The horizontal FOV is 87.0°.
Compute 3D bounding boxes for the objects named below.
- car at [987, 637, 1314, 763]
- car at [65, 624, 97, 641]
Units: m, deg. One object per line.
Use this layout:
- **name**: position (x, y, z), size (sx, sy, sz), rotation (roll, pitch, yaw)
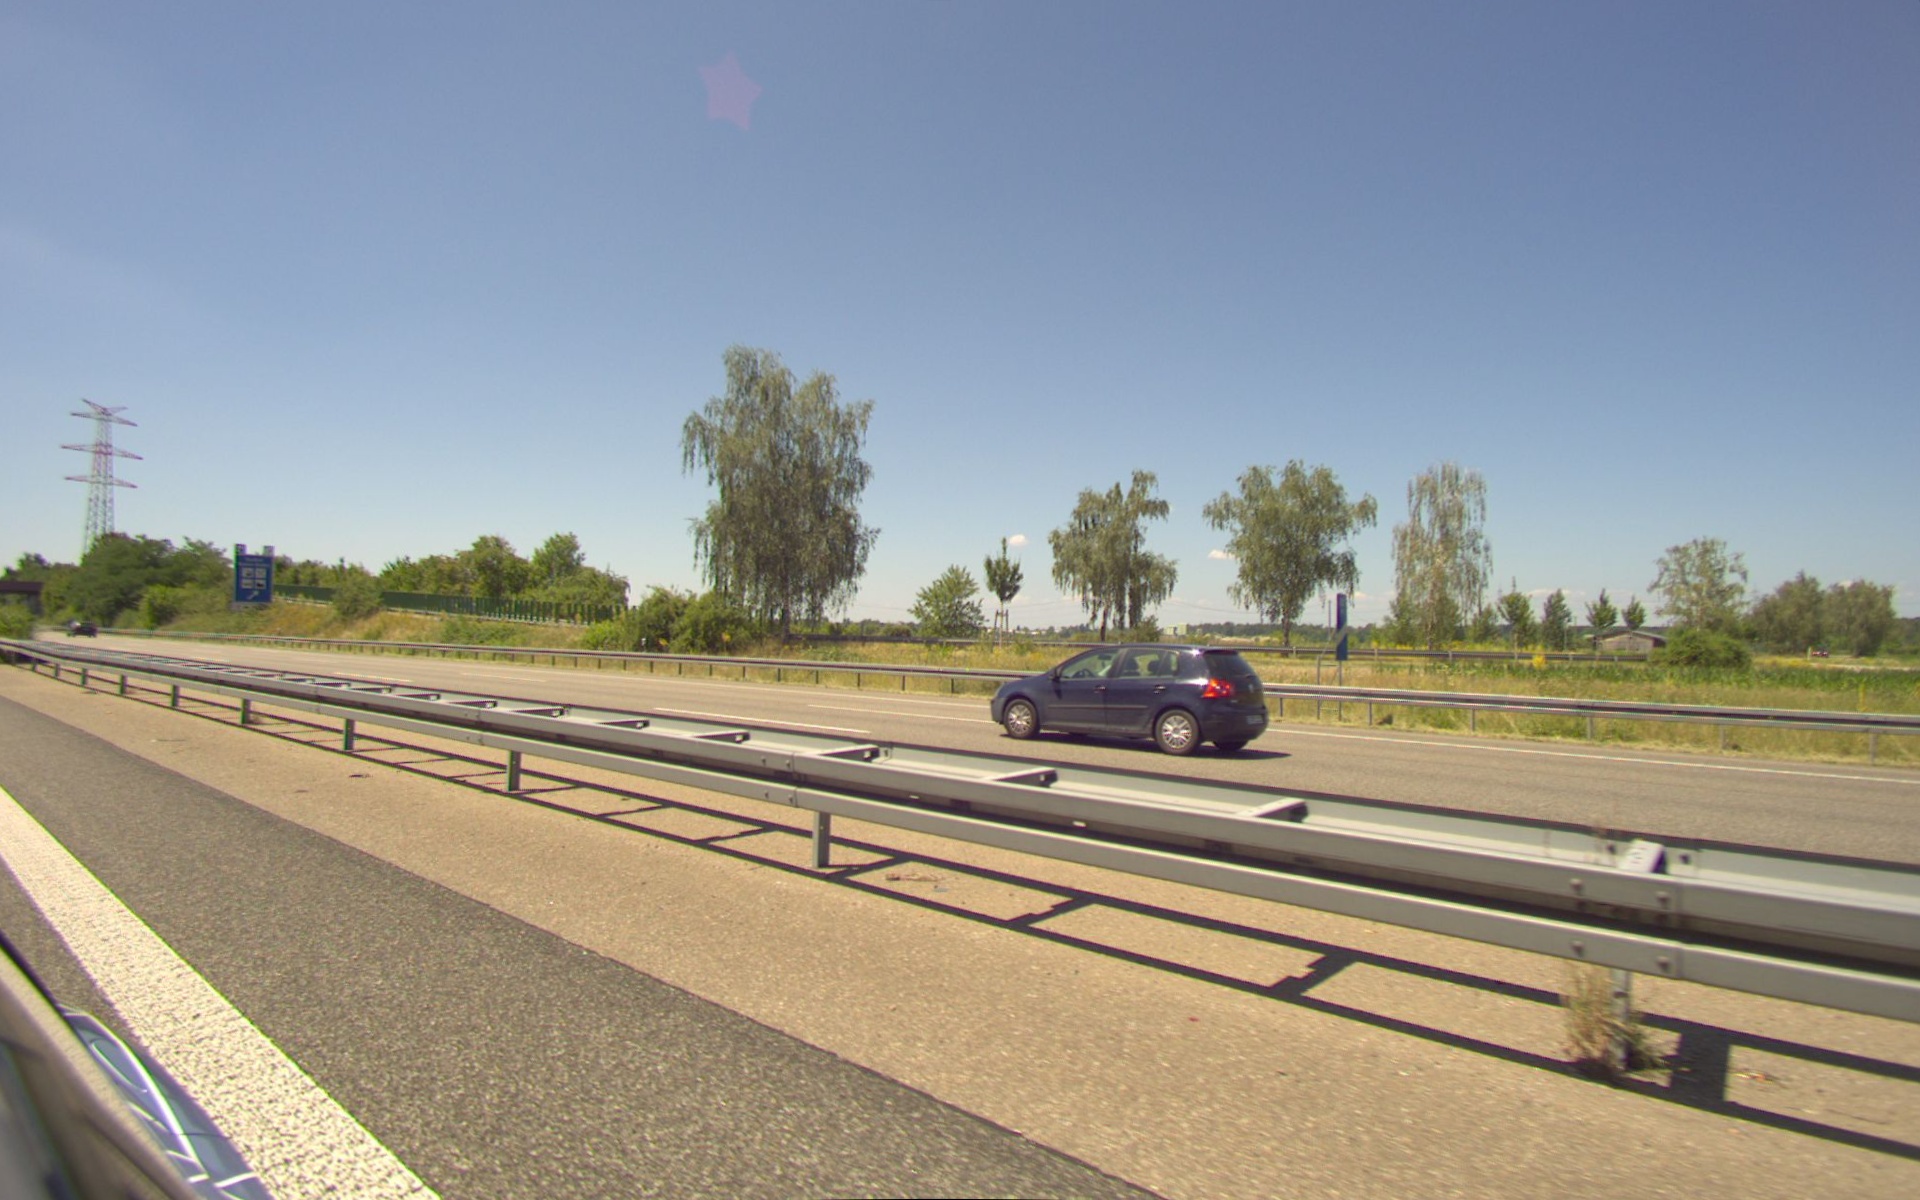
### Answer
- **car**: position (2.572, 1.320, 14.277), size (4.280, 1.471, 1.601), rotation (-1, -5, 40)
- **car**: position (-82.215, 3.027, 94.611), size (4.796, 1.460, 1.525), rotation (-1, -3, 41)
